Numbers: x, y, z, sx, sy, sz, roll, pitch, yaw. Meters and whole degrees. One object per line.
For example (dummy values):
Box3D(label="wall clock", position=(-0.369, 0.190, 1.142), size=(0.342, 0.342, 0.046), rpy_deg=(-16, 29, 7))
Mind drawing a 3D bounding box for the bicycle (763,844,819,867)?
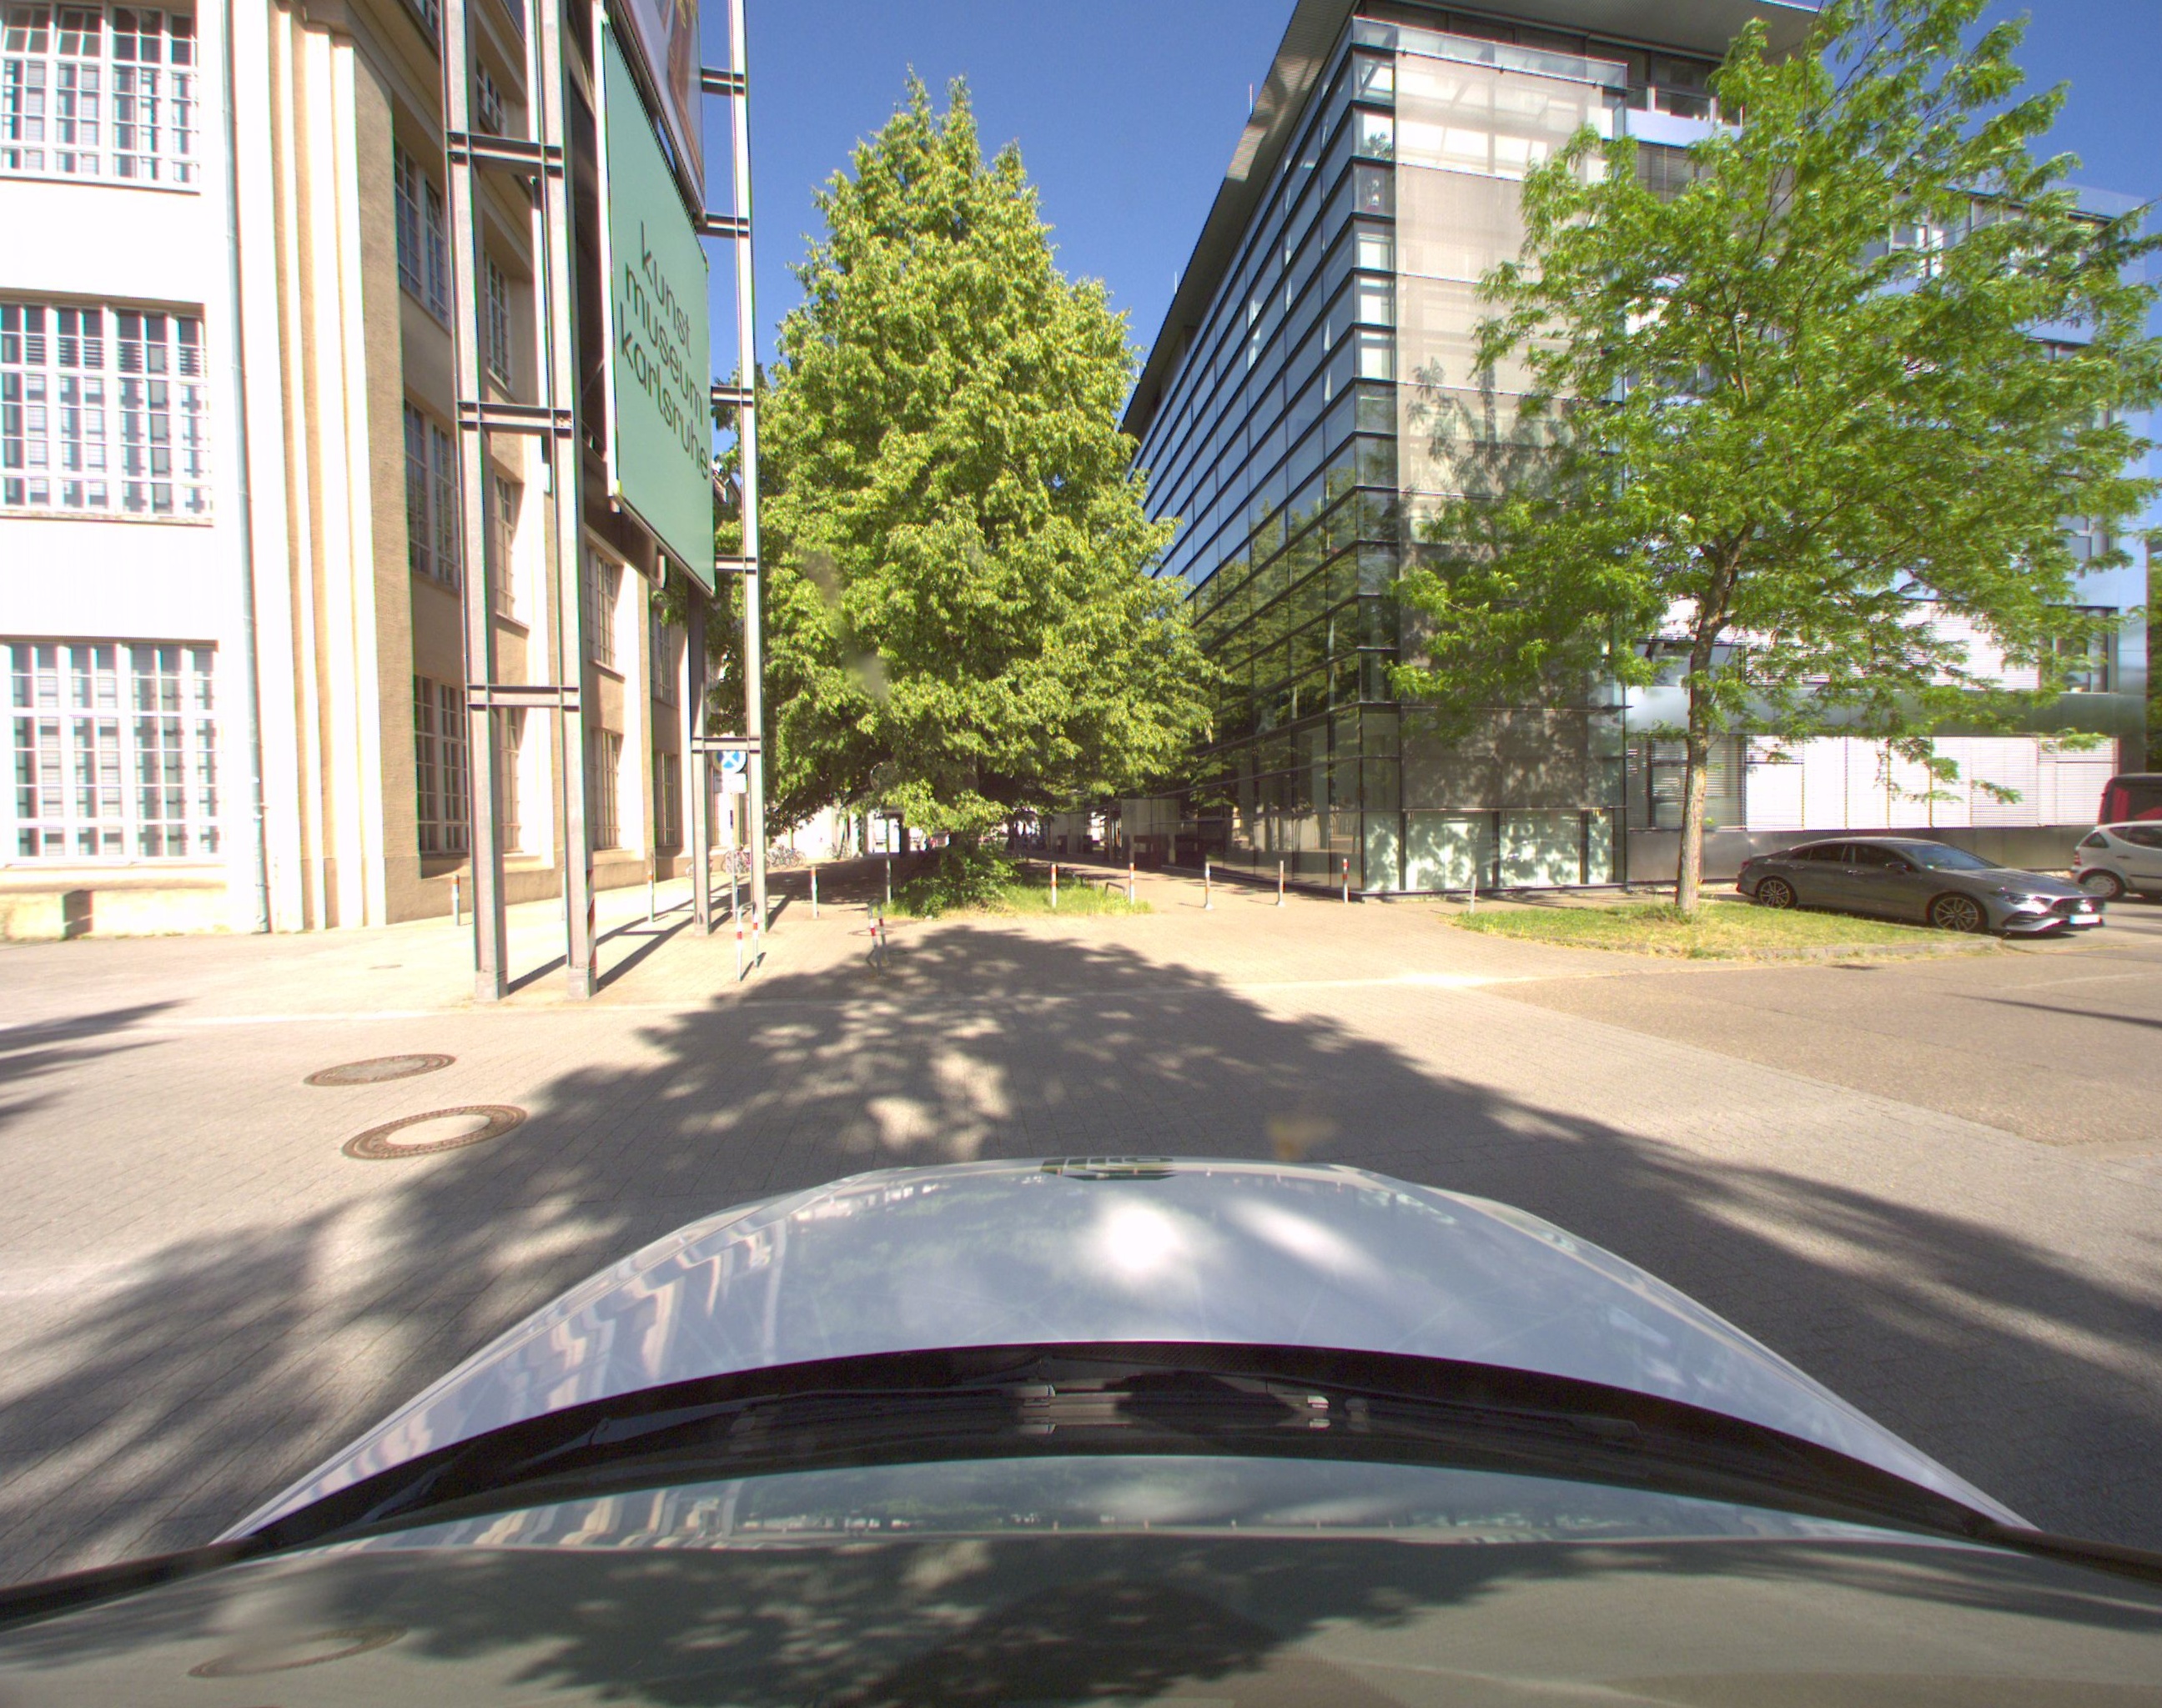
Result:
Box3D(label="bicycle", position=(-15.660, 0.060, 44.013), size=(2.735, 1.150, 0.715), rpy_deg=(-1, 2, -14))

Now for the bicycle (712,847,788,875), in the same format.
Box3D(label="bicycle", position=(-13.525, 0.274, 33.360), size=(2.804, 1.063, 0.715), rpy_deg=(-1, 2, -14))

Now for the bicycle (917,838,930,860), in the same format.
Box3D(label="bicycle", position=(-9.294, -0.311, 47.995), size=(0.620, 1.197, 2.121), rpy_deg=(-1, 2, -14))

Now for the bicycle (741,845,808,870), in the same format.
Box3D(label="bicycle", position=(-14.181, 0.156, 37.738), size=(2.804, 1.063, 0.715), rpy_deg=(-1, 2, -14))

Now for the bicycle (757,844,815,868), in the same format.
Box3D(label="bicycle", position=(-15.259, 0.083, 42.207), size=(2.735, 1.150, 0.715), rpy_deg=(-1, 2, -14))

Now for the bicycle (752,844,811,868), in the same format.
Box3D(label="bicycle", position=(-15.218, 0.085, 41.415), size=(2.735, 1.150, 0.715), rpy_deg=(-1, 2, -14))

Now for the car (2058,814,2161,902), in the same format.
Box3D(label="car", position=(21.378, 0.078, 15.039), size=(1.886, 1.644, 3.832), rpy_deg=(-1, 3, -9))

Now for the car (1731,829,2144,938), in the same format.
Box3D(label="car", position=(14.026, 0.348, 13.841), size=(1.886, 1.350, 4.536), rpy_deg=(-1, 4, -10))

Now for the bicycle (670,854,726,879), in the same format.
Box3D(label="bicycle", position=(-14.250, 0.438, 30.382), size=(0.776, 0.792, 2.883), rpy_deg=(-1, 2, -1))

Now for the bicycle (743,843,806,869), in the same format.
Box3D(label="bicycle", position=(-15.003, 0.086, 39.917), size=(2.804, 1.150, 0.715), rpy_deg=(-1, 2, -14))

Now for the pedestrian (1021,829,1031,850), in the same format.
Box3D(label="pedestrian", position=(-4.252, -1.139, 63.356), size=(0.715, 1.550, 0.689), rpy_deg=(-1, 2, -3))

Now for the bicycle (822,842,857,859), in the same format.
Box3D(label="bicycle", position=(-15.664, -0.250, 52.804), size=(2.056, 1.066, 0.505), rpy_deg=(-1, 1, -8))

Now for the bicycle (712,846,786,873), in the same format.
Box3D(label="bicycle", position=(-14.175, 0.237, 34.821), size=(2.800, 1.063, 0.716), rpy_deg=(-1, 2, -10))

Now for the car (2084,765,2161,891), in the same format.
Box3D(label="car", position=(23.857, -0.503, 15.603), size=(2.224, 2.622, 5.455), rpy_deg=(-1, 3, -10))

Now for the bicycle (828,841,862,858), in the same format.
Box3D(label="bicycle", position=(-15.502, -0.302, 53.559), size=(2.056, 1.066, 0.505), rpy_deg=(-1, 1, -8))
